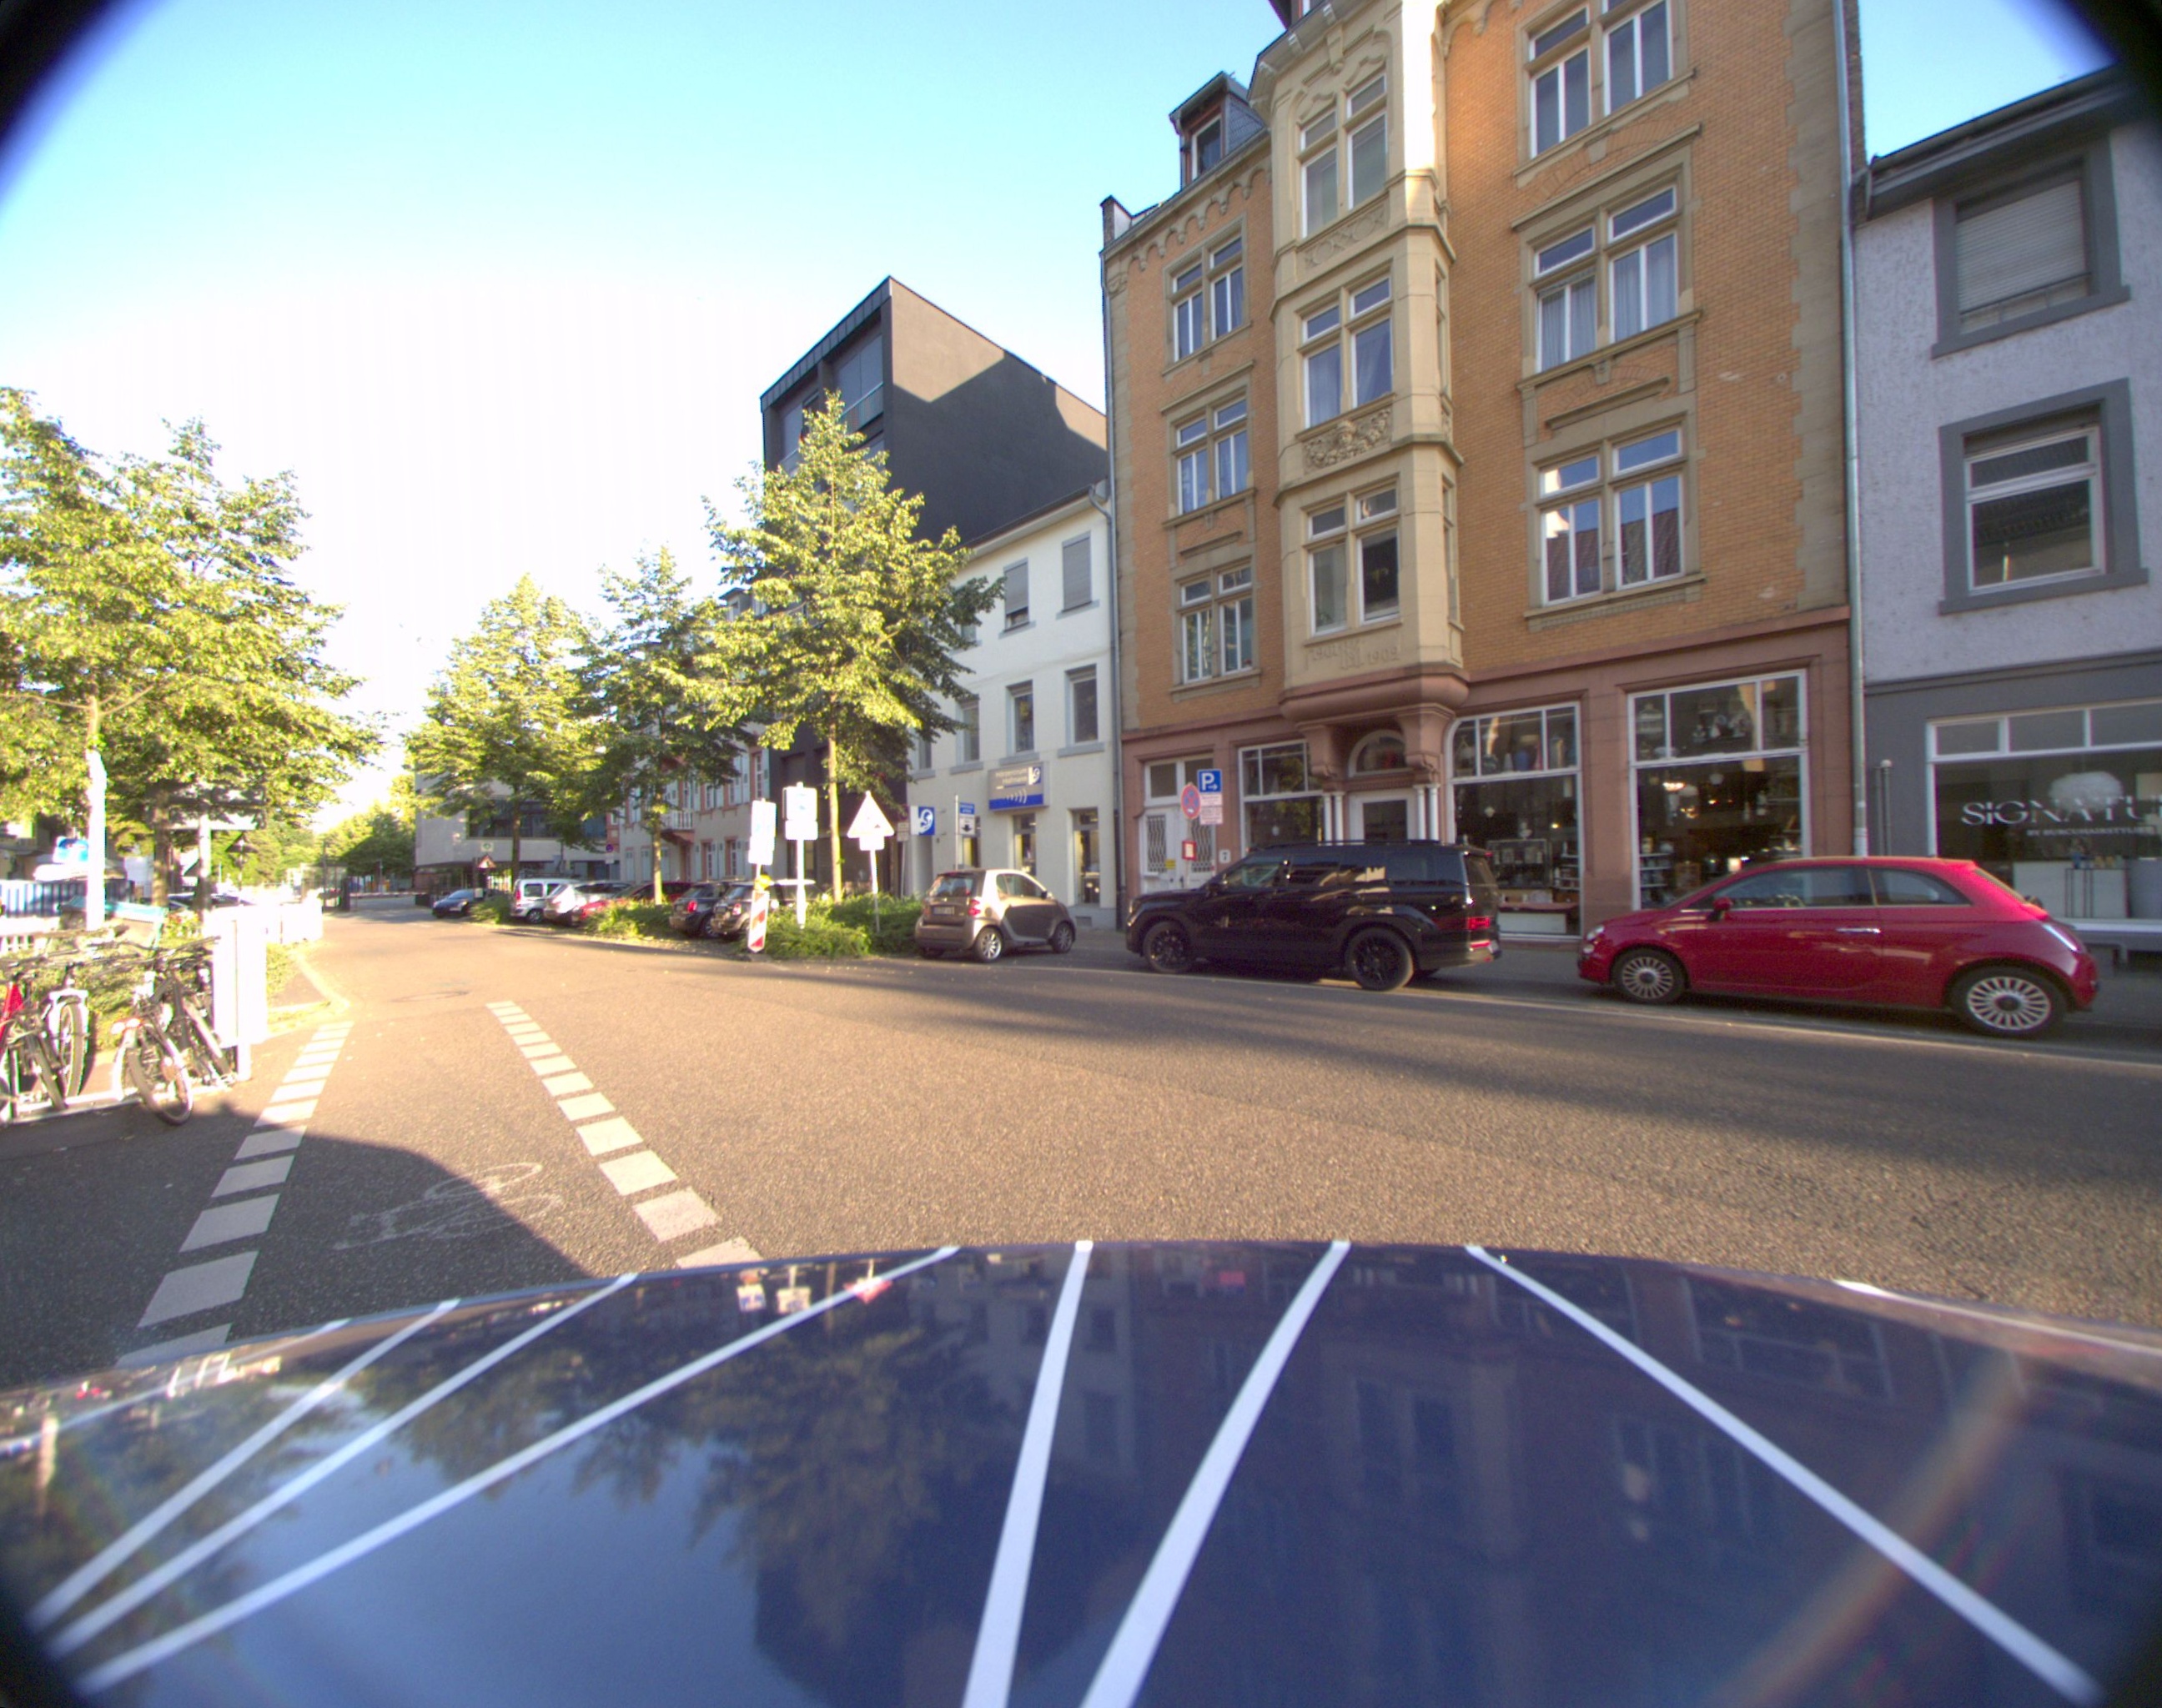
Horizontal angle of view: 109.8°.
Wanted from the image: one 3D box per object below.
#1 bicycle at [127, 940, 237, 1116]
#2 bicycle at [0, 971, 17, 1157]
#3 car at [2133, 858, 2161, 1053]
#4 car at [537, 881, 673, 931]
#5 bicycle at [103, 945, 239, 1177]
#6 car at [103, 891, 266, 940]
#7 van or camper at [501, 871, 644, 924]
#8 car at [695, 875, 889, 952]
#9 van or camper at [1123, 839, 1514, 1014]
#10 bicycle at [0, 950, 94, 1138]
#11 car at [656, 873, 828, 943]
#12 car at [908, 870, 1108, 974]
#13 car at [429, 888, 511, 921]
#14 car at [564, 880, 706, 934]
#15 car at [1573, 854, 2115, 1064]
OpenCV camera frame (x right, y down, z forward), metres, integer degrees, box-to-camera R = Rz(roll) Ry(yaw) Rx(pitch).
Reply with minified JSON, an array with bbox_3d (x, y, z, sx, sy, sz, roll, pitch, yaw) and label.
[{"bbox_3d":[-7.343,1.348,6.249,1.548,1.171,0.510,-2,-1,43],"label":"bicycle"},{"bbox_3d":[-6.687,1.326,4.322,0.419,1.150,1.548,-1,-1,-42],"label":"bicycle"},{"bbox_3d":[9.894,0.753,4.545,3.924,1.563,1.671,-2,-3,43],"label":"car"},{"bbox_3d":[-16.927,1.796,27.151,1.853,1.659,3.706,-2,-3,40],"label":"car"},{"bbox_3d":[-6.017,1.275,5.078,1.548,1.213,0.500,-2,-1,43],"label":"bicycle"},{"bbox_3d":[-35.231,2.373,30.048,1.886,1.673,4.009,-2,-2,45],"label":"car"},{"bbox_3d":[-20.547,1.702,30.861,1.853,1.993,4.465,-2,-3,40],"label":"van or camper"},{"bbox_3d":[-6.931,1.350,18.546,1.853,1.659,4.018,-2,-3,40],"label":"car"},{"bbox_3d":[2.948,0.818,9.905,4.448,1.796,1.900,-2,-2,37],"label":"van or camper"},{"bbox_3d":[-7.868,1.362,5.658,1.548,1.156,0.490,-2,-1,43],"label":"bicycle"},{"bbox_3d":[-8.859,1.354,20.063,1.853,1.659,3.706,-2,-3,40],"label":"car"},{"bbox_3d":[-1.198,1.112,13.654,1.503,1.566,3.489,-2,-1,40],"label":"car"},{"bbox_3d":[-30.787,2.504,38.403,1.859,1.558,3.694,0,-2,-14],"label":"car"},{"bbox_3d":[-14.954,1.714,25.586,1.853,1.659,3.706,-2,-3,40],"label":"car"},{"bbox_3d":[6.974,0.840,7.397,3.412,1.560,1.534,-2,-2,44],"label":"car"}]
